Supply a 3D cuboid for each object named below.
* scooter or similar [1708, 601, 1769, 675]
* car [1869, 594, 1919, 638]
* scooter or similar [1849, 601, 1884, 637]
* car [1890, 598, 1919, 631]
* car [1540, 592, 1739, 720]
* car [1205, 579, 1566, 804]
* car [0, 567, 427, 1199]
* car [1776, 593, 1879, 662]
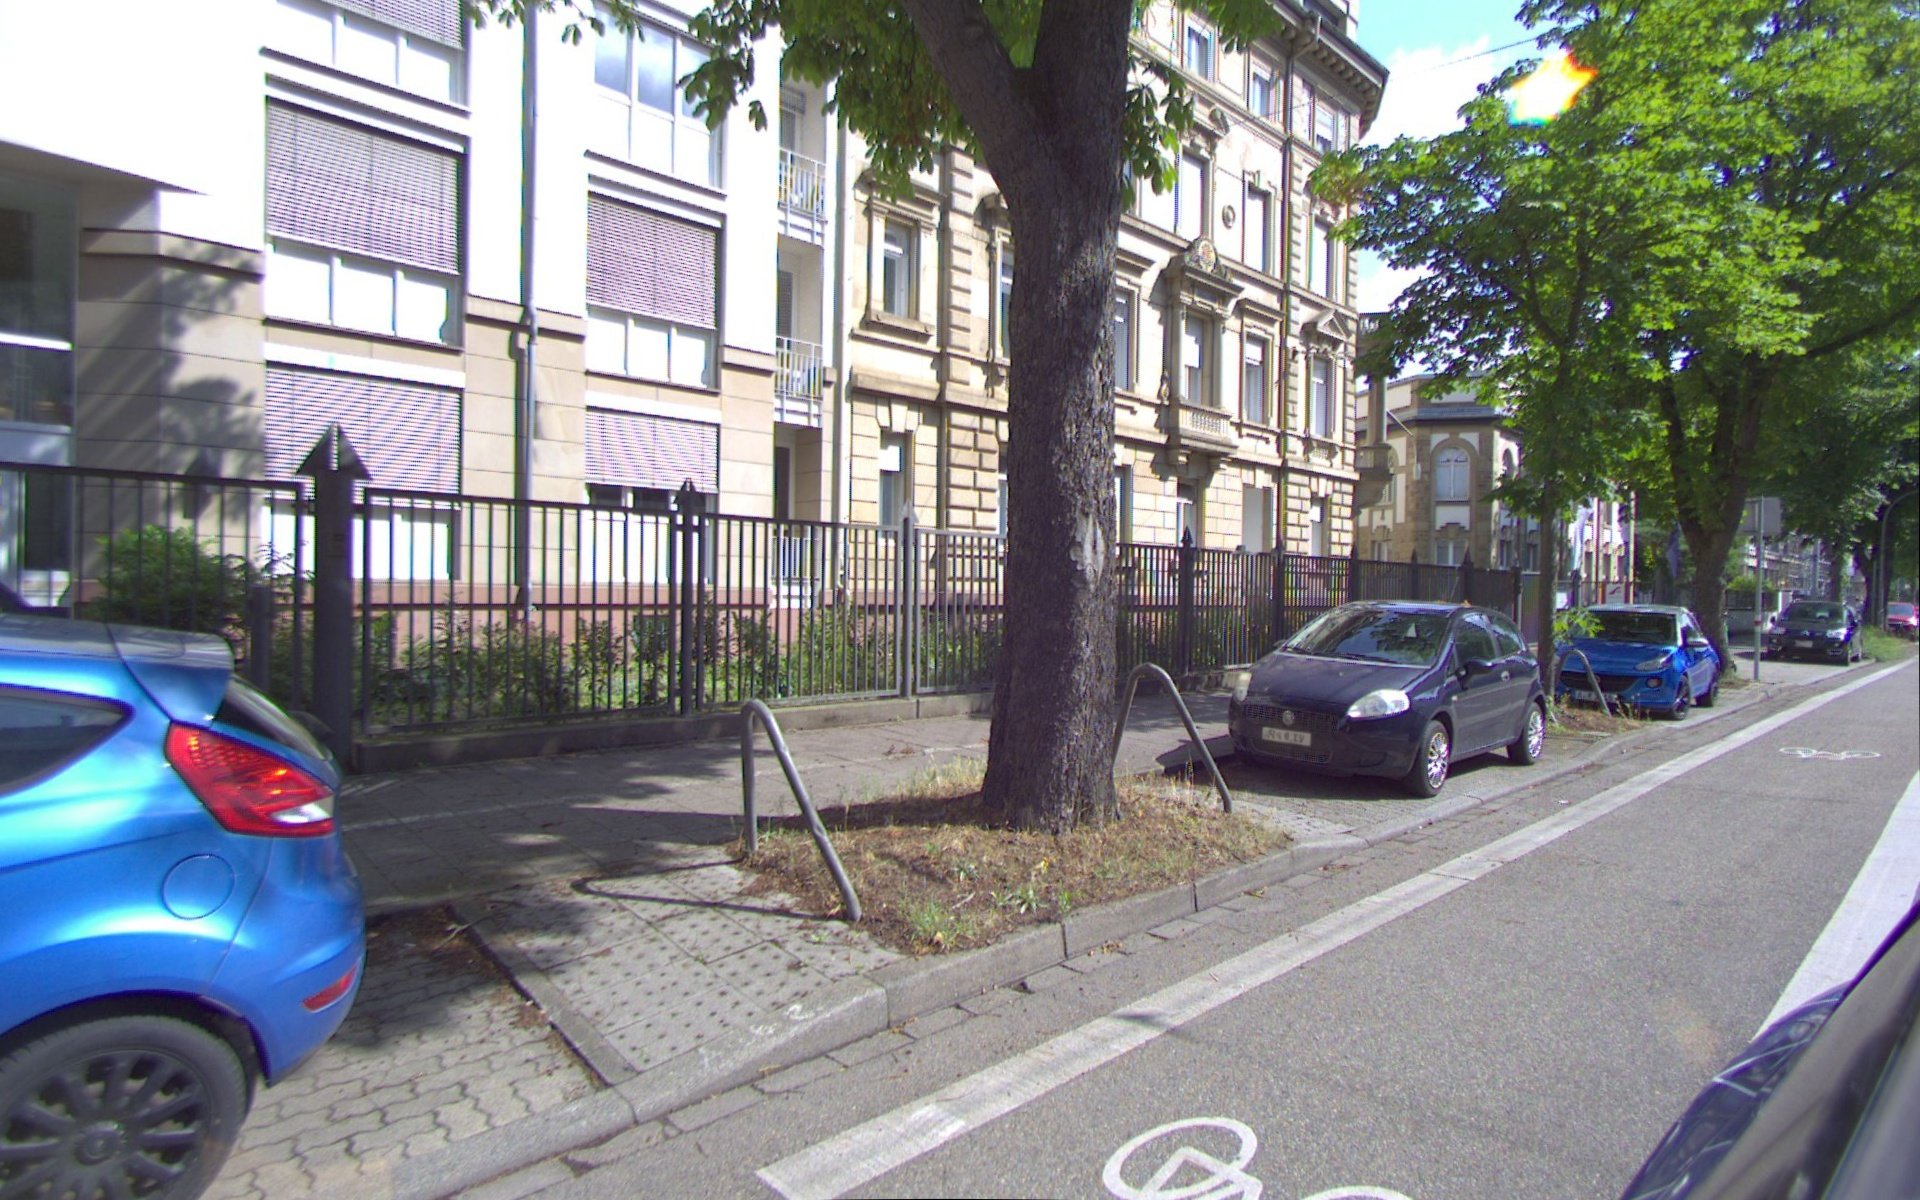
[{"bbox_3d":[14.793,0.706,19.262,0.436,1.315,1.176,4,1,16],"label":"scooter or similar"},{"bbox_3d":[39.542,0.628,42.427,1.877,1.697,4.213,4,3,45],"label":"car"},{"bbox_3d":[33.419,0.701,37.310,1.233,1.252,0.343,2,3,-19],"label":"scooter or similar"},{"bbox_3d":[45.089,0.685,47.821,1.600,1.445,3.541,5,4,42],"label":"car"},{"bbox_3d":[9.713,0.691,14.375,3.567,1.514,1.641,0,2,-45],"label":"car"},{"bbox_3d":[3.891,0.626,8.950,1.641,1.514,3.697,3,2,45],"label":"car"},{"bbox_3d":[-3.381,0.691,2.041,3.783,1.514,1.626,0,3,-43],"label":"car"},{"bbox_3d":[23.306,0.665,27.137,4.134,1.610,1.698,0,3,-44],"label":"car"}]
